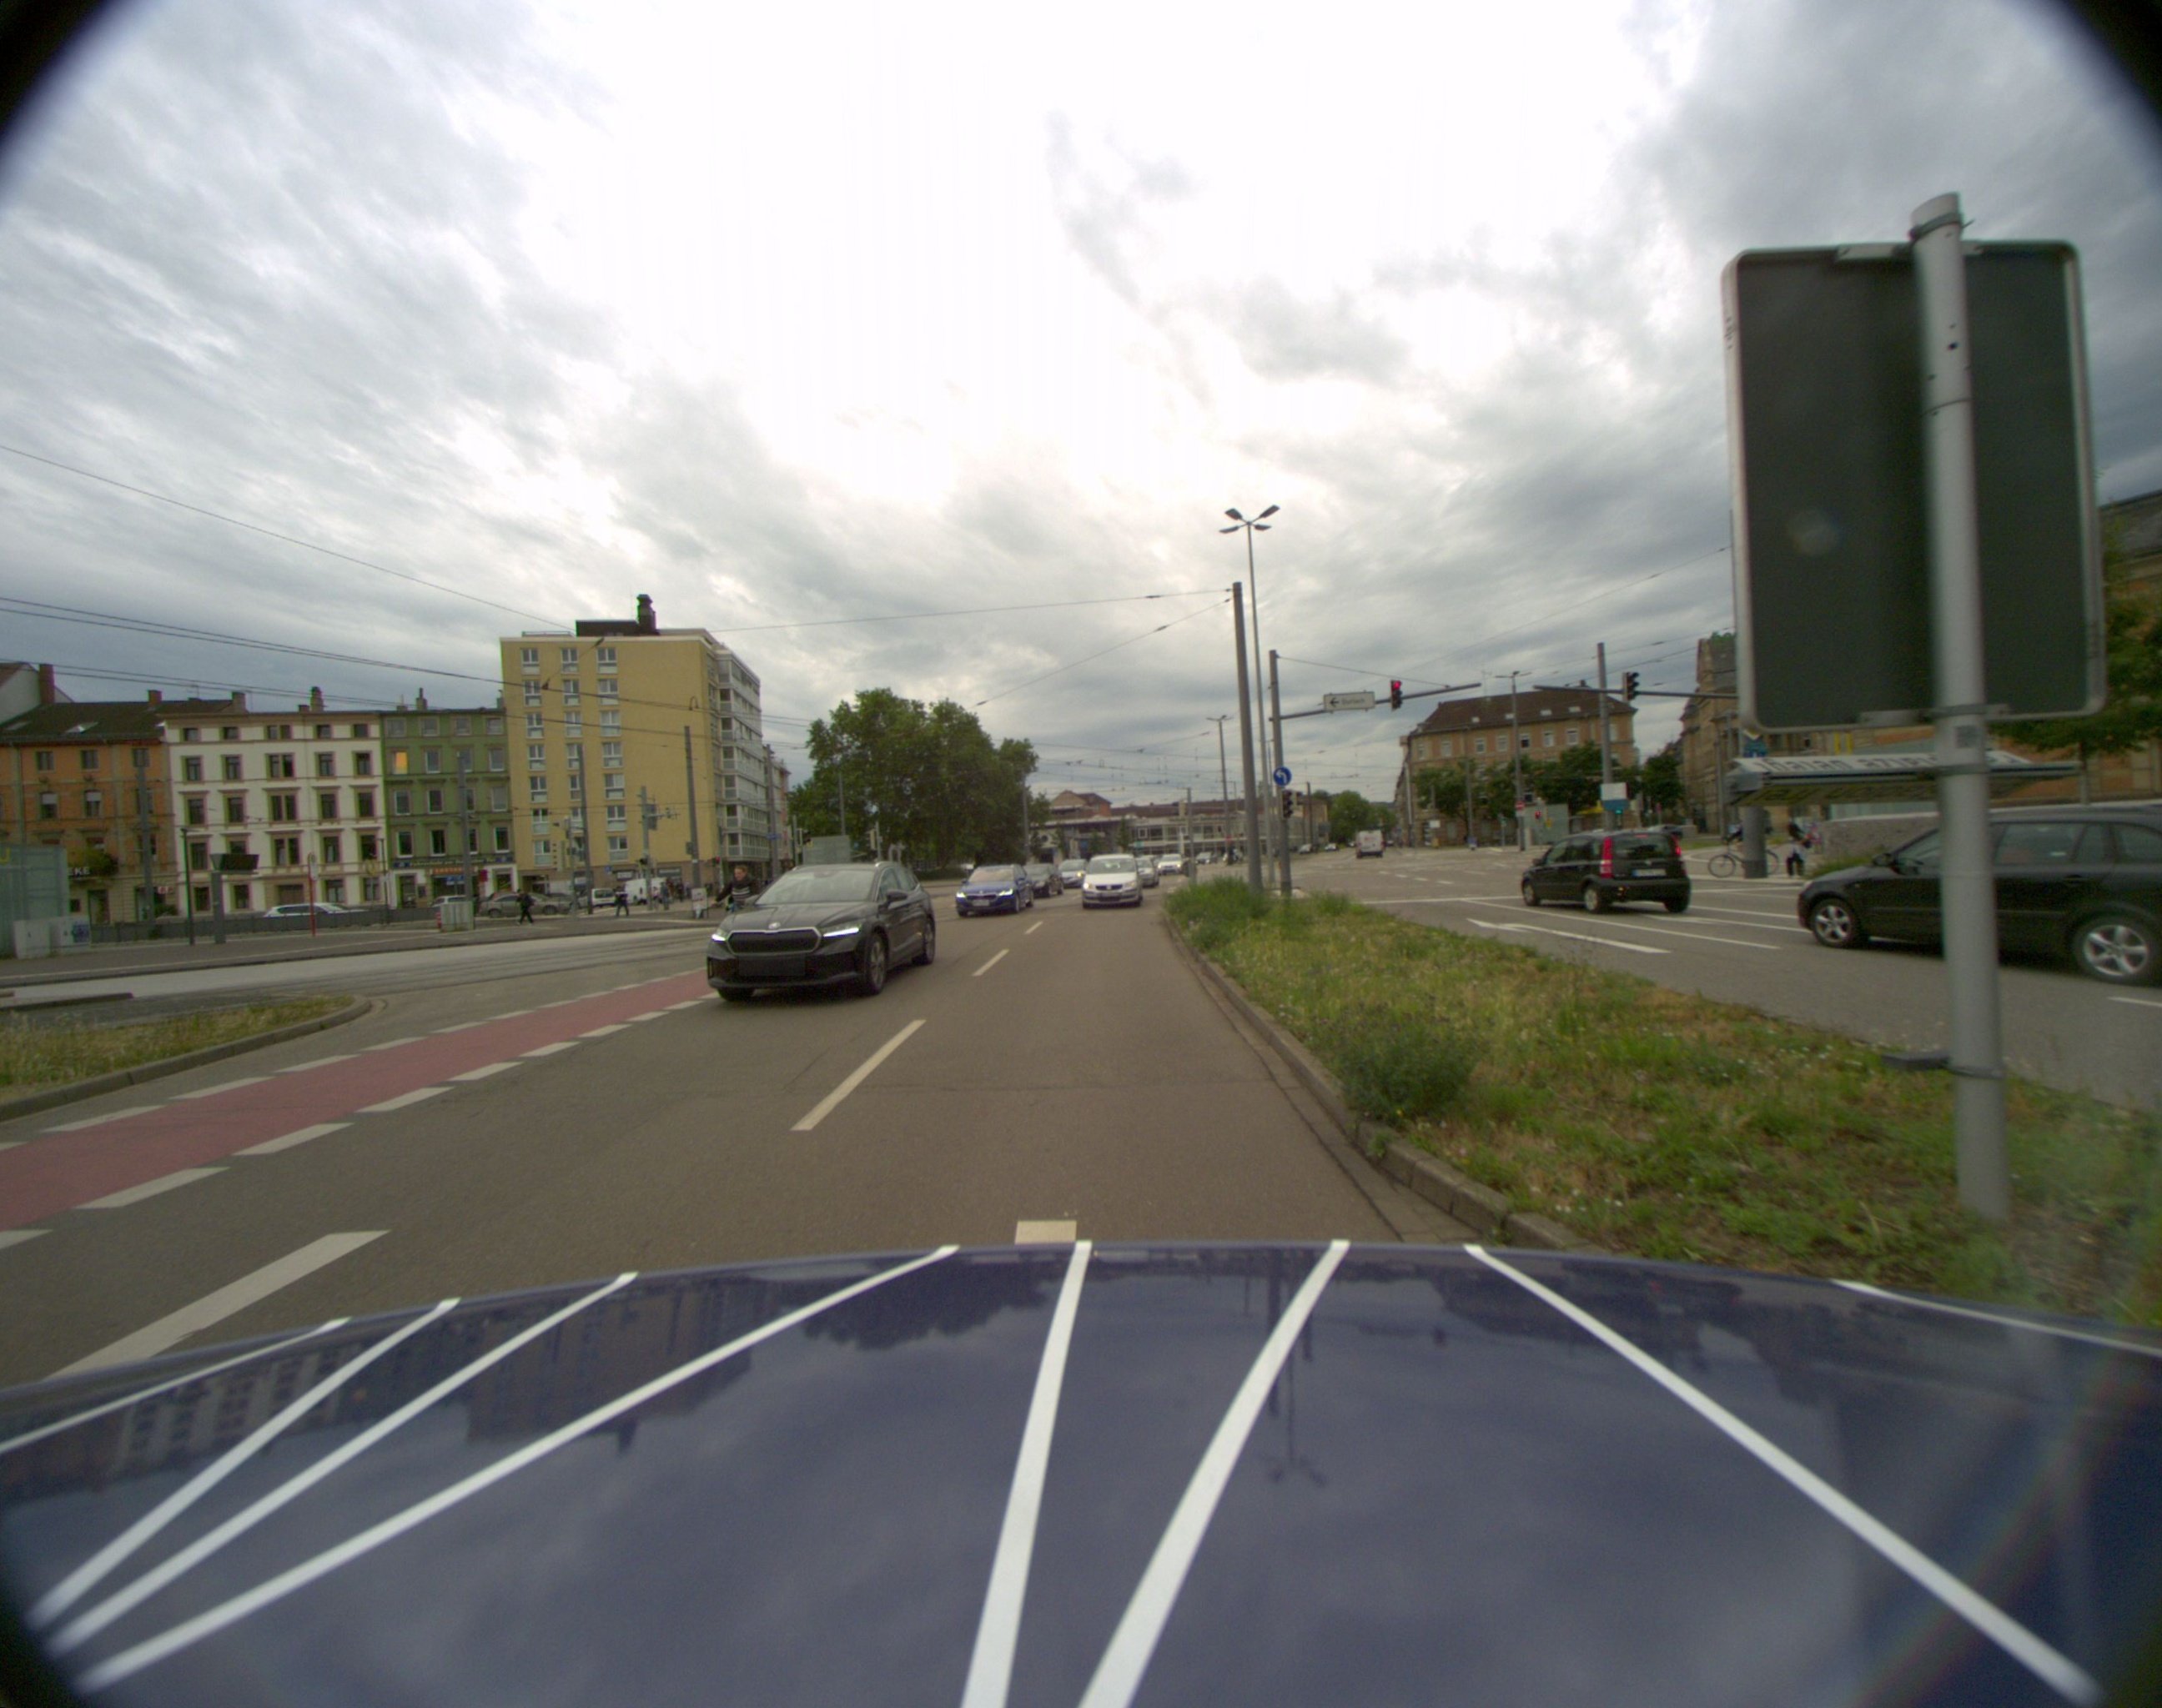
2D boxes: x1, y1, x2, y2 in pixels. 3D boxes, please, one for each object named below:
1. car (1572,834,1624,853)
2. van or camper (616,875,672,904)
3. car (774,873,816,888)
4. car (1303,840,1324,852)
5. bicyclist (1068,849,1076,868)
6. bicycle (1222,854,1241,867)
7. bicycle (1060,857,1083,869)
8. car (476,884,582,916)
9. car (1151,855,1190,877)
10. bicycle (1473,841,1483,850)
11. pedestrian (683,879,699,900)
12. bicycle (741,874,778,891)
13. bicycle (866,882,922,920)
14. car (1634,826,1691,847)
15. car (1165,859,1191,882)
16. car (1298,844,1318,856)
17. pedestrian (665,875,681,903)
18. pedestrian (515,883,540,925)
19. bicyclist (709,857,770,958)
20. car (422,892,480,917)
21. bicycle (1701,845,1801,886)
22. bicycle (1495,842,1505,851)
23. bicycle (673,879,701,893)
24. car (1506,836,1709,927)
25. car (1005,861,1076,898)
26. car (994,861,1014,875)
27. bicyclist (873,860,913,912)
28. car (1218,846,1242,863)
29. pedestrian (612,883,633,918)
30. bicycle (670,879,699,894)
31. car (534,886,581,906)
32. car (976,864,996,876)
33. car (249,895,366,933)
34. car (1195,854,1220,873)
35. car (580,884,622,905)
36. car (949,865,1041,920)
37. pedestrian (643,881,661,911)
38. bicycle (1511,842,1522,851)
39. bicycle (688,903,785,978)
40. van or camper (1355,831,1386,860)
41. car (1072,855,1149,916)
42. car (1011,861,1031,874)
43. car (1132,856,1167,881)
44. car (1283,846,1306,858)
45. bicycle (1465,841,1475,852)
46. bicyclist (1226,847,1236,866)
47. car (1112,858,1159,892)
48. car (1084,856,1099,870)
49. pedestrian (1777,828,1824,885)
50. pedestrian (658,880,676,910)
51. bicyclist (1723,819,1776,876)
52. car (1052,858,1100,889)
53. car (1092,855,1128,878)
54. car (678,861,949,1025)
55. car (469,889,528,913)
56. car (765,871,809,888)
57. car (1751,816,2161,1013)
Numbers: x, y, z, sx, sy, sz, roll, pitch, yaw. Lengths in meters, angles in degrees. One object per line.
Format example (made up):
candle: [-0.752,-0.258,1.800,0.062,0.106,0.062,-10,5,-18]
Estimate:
car: [48.211,-0.979,70.817,4.249,1.601,1.996,-3,0,-24]
van or camper: [-33.266,2.686,57.731,5.452,1.967,2.176,-3,0,44]
car: [-30.015,2.790,79.958,4.003,1.433,1.997,-2,0,-18]
car: [42.198,-1.483,137.976,2.368,2.121,5.139,-3,0,32]
bicyclist: [-0.807,0.401,68.327,0.734,1.741,0.585,-1,1,-4]
bicycle: [13.864,0.598,70.123,1.615,1.063,0.527,-3,0,-17]
bicycle: [-0.871,0.829,68.337,1.992,0.993,0.579,-1,2,-5]
car: [-31.626,2.620,43.642,4.445,1.477,1.999,-3,0,-7]
car: [6.439,0.827,54.089,1.970,1.447,4.198,-3,0,17]
bicycle: [47.085,-1.050,90.190,0.753,1.024,2.400,-3,0,22]
pedestrian: [-32.965,2.992,64.214,0.906,1.727,0.812,-2,0,-9]
bicycle: [-28.406,2.543,67.141,2.783,1.369,0.903,-3,0,-8]
bicycle: [-6.096,1.526,24.900,0.762,1.072,2.019,-4,-1,19]
car: [55.098,-1.665,72.015,4.929,1.704,2.159,-2,0,-24]
car: [9.447,1.566,74.055,1.996,2.002,4.004,-3,0,14]
car: [37.755,-0.705,126.359,2.369,1.744,5.138,-3,0,26]
pedestrian: [-26.167,2.251,48.725,0.789,1.746,1.047,-2,0,-31]
pedestrian: [-26.074,2.361,35.793,0.786,1.901,0.902,-3,0,-32]
bicyclist: [-5.956,0.917,13.274,0.617,1.680,0.806,-3,0,1]
car: [-44.765,3.582,53.982,3.729,1.578,1.739,-3,0,27]
bicycle: [20.545,0.357,23.344,2.117,1.022,0.796,-6,-2,12]
bicycle: [49.252,-0.873,89.322,0.753,1.024,2.400,-3,0,22]
bicycle: [-34.029,2.759,65.676,2.041,1.162,0.669,-2,0,-13]
car: [10.022,0.482,14.825,1.622,1.506,3.666,-2,0,5]
car: [-1.628,1.036,32.288,1.768,1.362,4.427,-2,0,13]
car: [-12.005,2.201,119.148,1.954,1.589,4.228,-3,6,11]
bicyclist: [-6.157,1.040,24.900,0.790,1.608,0.934,-4,0,18]
car: [18.787,0.020,95.707,1.995,2.002,4.006,-3,0,23]
pedestrian: [-22.585,2.279,37.407,0.786,1.634,0.902,-3,0,-32]
bicycle: [-33.919,2.746,64.988,2.041,1.162,0.669,-2,0,-13]
car: [-38.330,3.086,55.608,3.728,1.296,1.684,-3,0,37]
car: [-14.974,2.499,119.795,1.954,1.459,4.229,-3,5,11]
car: [-42.132,3.248,41.478,3.999,1.739,1.999,-3,0,-7]
car: [14.483,1.065,86.833,1.996,2.002,4.006,-3,0,20]
car: [-36.160,3.048,57.223,3.728,1.409,1.739,-3,0,44]
car: [-2.534,1.109,23.546,1.769,1.427,4.759,-3,0,6]
pedestrian: [-23.936,2.326,42.404,0.770,1.602,0.949,-3,0,-32]
bicycle: [50.657,-0.869,88.464,0.753,1.024,2.400,-3,0,22]
bicycle: [-5.935,1.453,13.240,0.626,1.048,2.126,-3,0,2]
van or camper: [27.237,-0.792,71.674,2.282,2.512,5.580,-2,0,16]
car: [1.045,0.889,23.691,1.862,1.609,5.065,-3,-1,7]
car: [-9.344,2.122,118.980,1.954,1.449,4.228,-3,7,11]
car: [6.044,1.209,66.354,1.996,2.002,4.006,-3,0,20]
car: [36.400,-0.335,129.345,2.368,1.899,5.139,-3,0,32]
bicycle: [46.369,-0.897,90.484,0.835,1.025,2.399,-3,3,22]
bicyclist: [13.863,0.236,70.119,0.655,1.629,0.517,-3,0,-16]
car: [2.608,0.949,35.598,1.808,1.398,3.985,-2,0,9]
car: [1.603,1.330,116.775,1.955,1.634,4.673,-3,4,5]
pedestrian: [20.055,0.082,21.192,0.579,1.542,0.749,-2,0,8]
pedestrian: [-23.263,2.287,42.703,0.786,1.593,0.895,-3,0,-32]
bicyclist: [20.550,-0.188,23.373,0.814,1.646,0.795,-5,-3,12]
car: [-0.214,1.005,40.509,1.707,1.474,3.937,-4,-1,12]
car: [2.158,0.842,54.716,1.997,1.499,4.003,-2,0,10]
car: [-3.248,0.975,10.348,1.908,1.648,4.515,-3,0,2]
car: [-42.233,3.416,55.101,3.729,1.573,1.895,-3,0,27]
car: [-29.781,2.605,77.082,4.002,1.455,1.997,-3,0,-17]
car: [9.270,0.461,7.335,1.874,1.499,4.480,0,0,4]
